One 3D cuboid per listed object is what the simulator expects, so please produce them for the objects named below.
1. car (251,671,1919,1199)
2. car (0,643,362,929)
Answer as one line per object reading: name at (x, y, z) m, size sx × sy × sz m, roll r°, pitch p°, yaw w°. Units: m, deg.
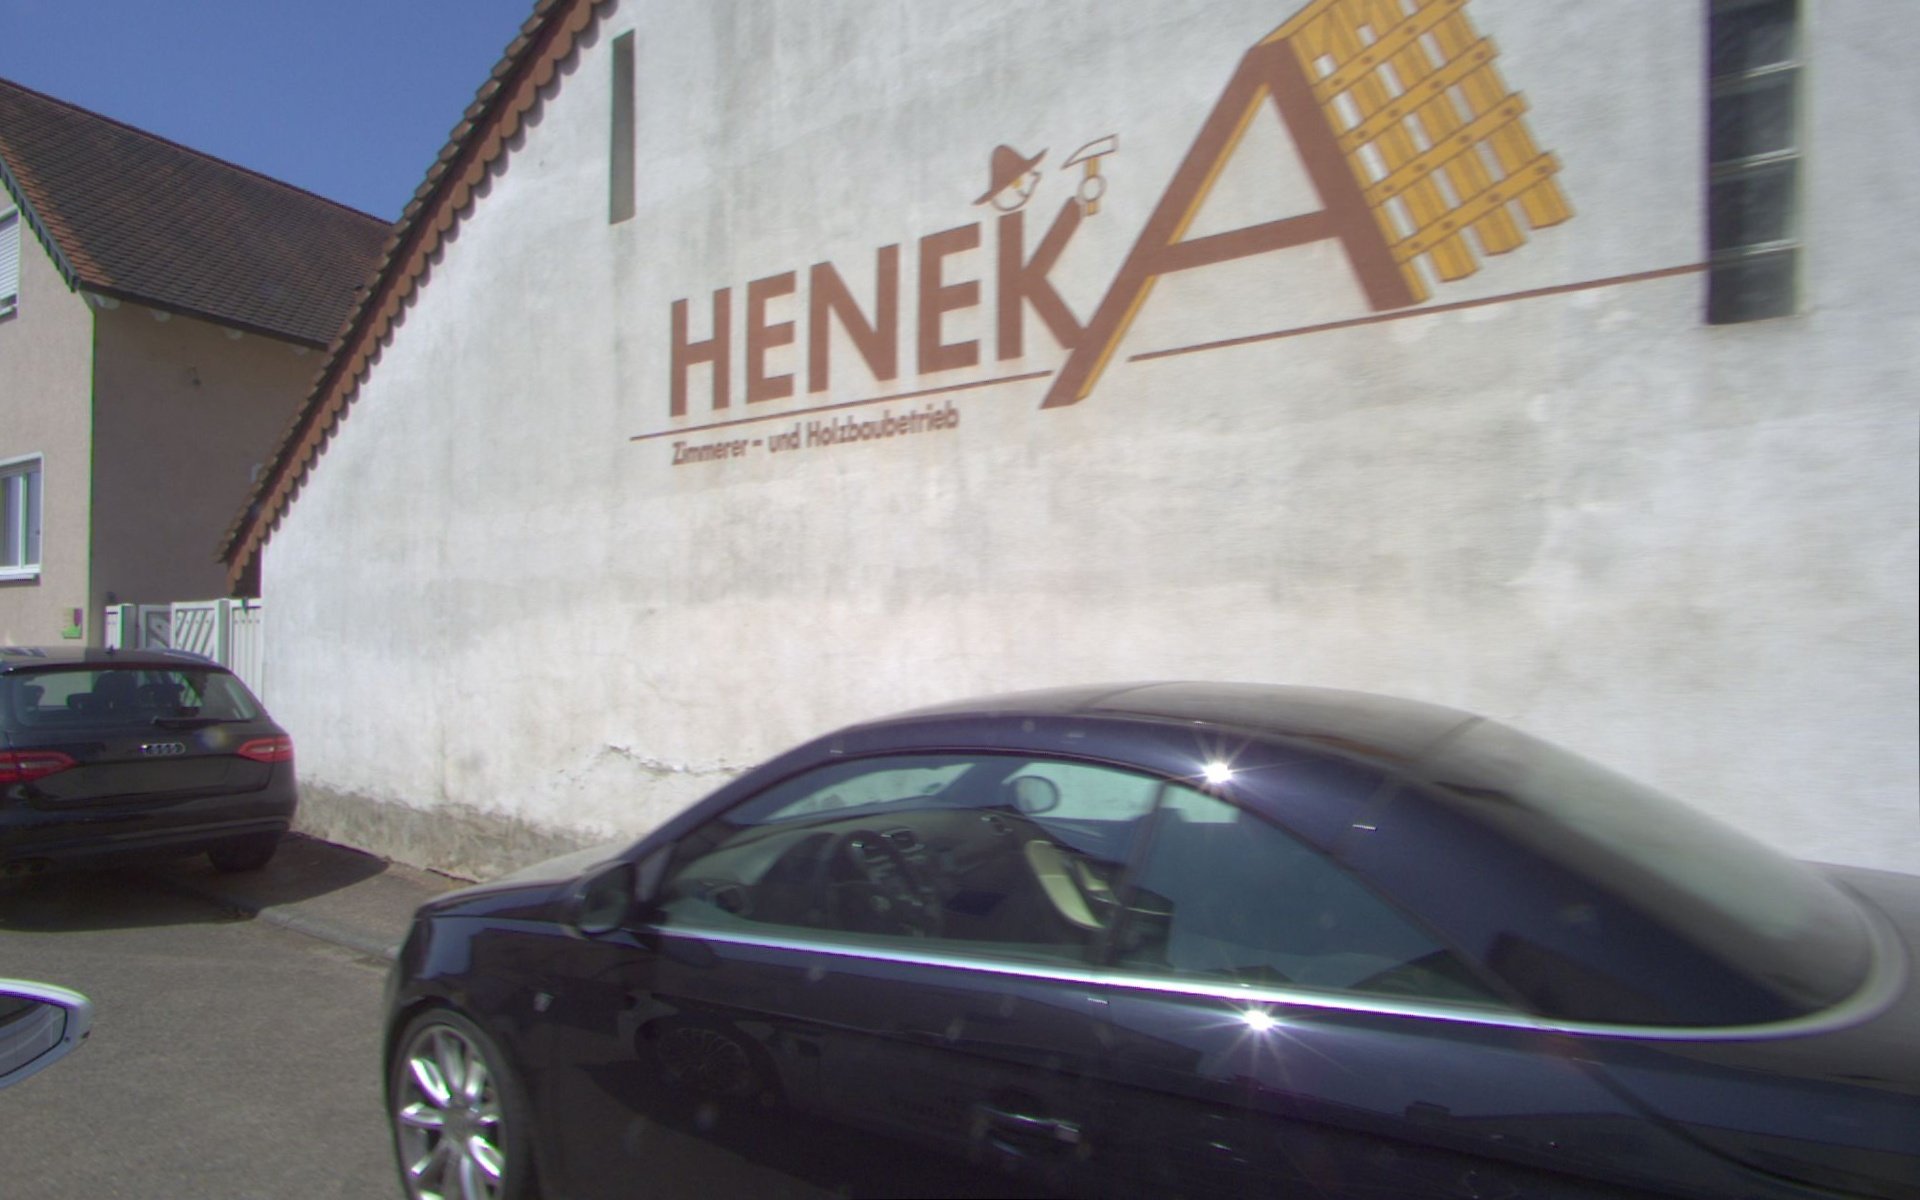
car at (0.313, 0.912, 2.433) m, size 4.354 × 1.382 × 1.892 m, roll -1°, pitch -4°, yaw 34°
car at (-6.255, 0.992, 6.760) m, size 4.670 × 1.382 × 1.893 m, roll -1°, pitch -4°, yaw 32°
